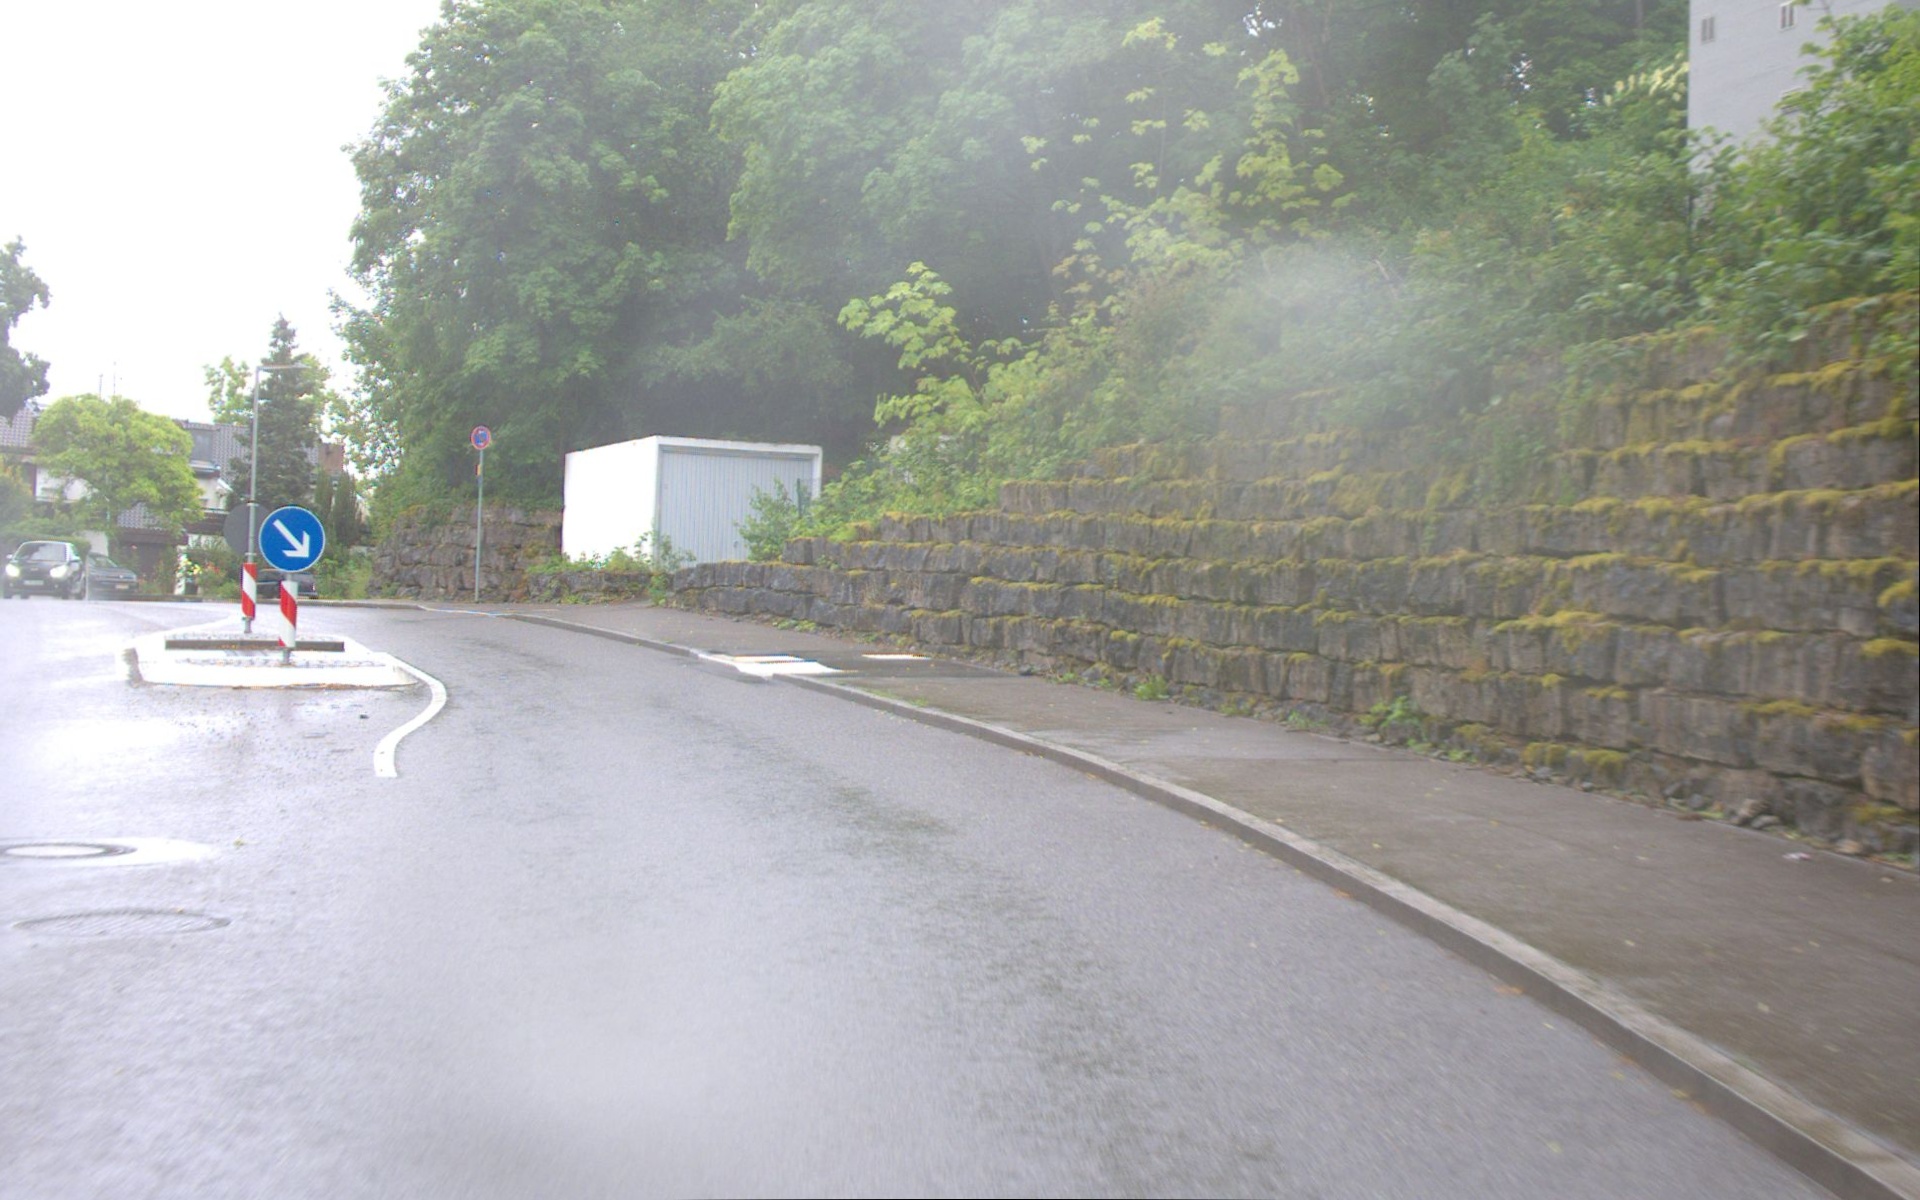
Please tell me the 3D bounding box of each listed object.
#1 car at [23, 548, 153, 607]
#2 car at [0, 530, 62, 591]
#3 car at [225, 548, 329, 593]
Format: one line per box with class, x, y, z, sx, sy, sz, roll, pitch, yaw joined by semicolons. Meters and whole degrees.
car;-28.737;-0.739;113.271;3.996;1.626;2.009;4;-1;38
car;-24.284;-1.029;89.048;1.831;1.515;4.628;0;1;-16
car;-24.345;-1.056;122.455;1.934;1.385;3.999;6;-2;-38
